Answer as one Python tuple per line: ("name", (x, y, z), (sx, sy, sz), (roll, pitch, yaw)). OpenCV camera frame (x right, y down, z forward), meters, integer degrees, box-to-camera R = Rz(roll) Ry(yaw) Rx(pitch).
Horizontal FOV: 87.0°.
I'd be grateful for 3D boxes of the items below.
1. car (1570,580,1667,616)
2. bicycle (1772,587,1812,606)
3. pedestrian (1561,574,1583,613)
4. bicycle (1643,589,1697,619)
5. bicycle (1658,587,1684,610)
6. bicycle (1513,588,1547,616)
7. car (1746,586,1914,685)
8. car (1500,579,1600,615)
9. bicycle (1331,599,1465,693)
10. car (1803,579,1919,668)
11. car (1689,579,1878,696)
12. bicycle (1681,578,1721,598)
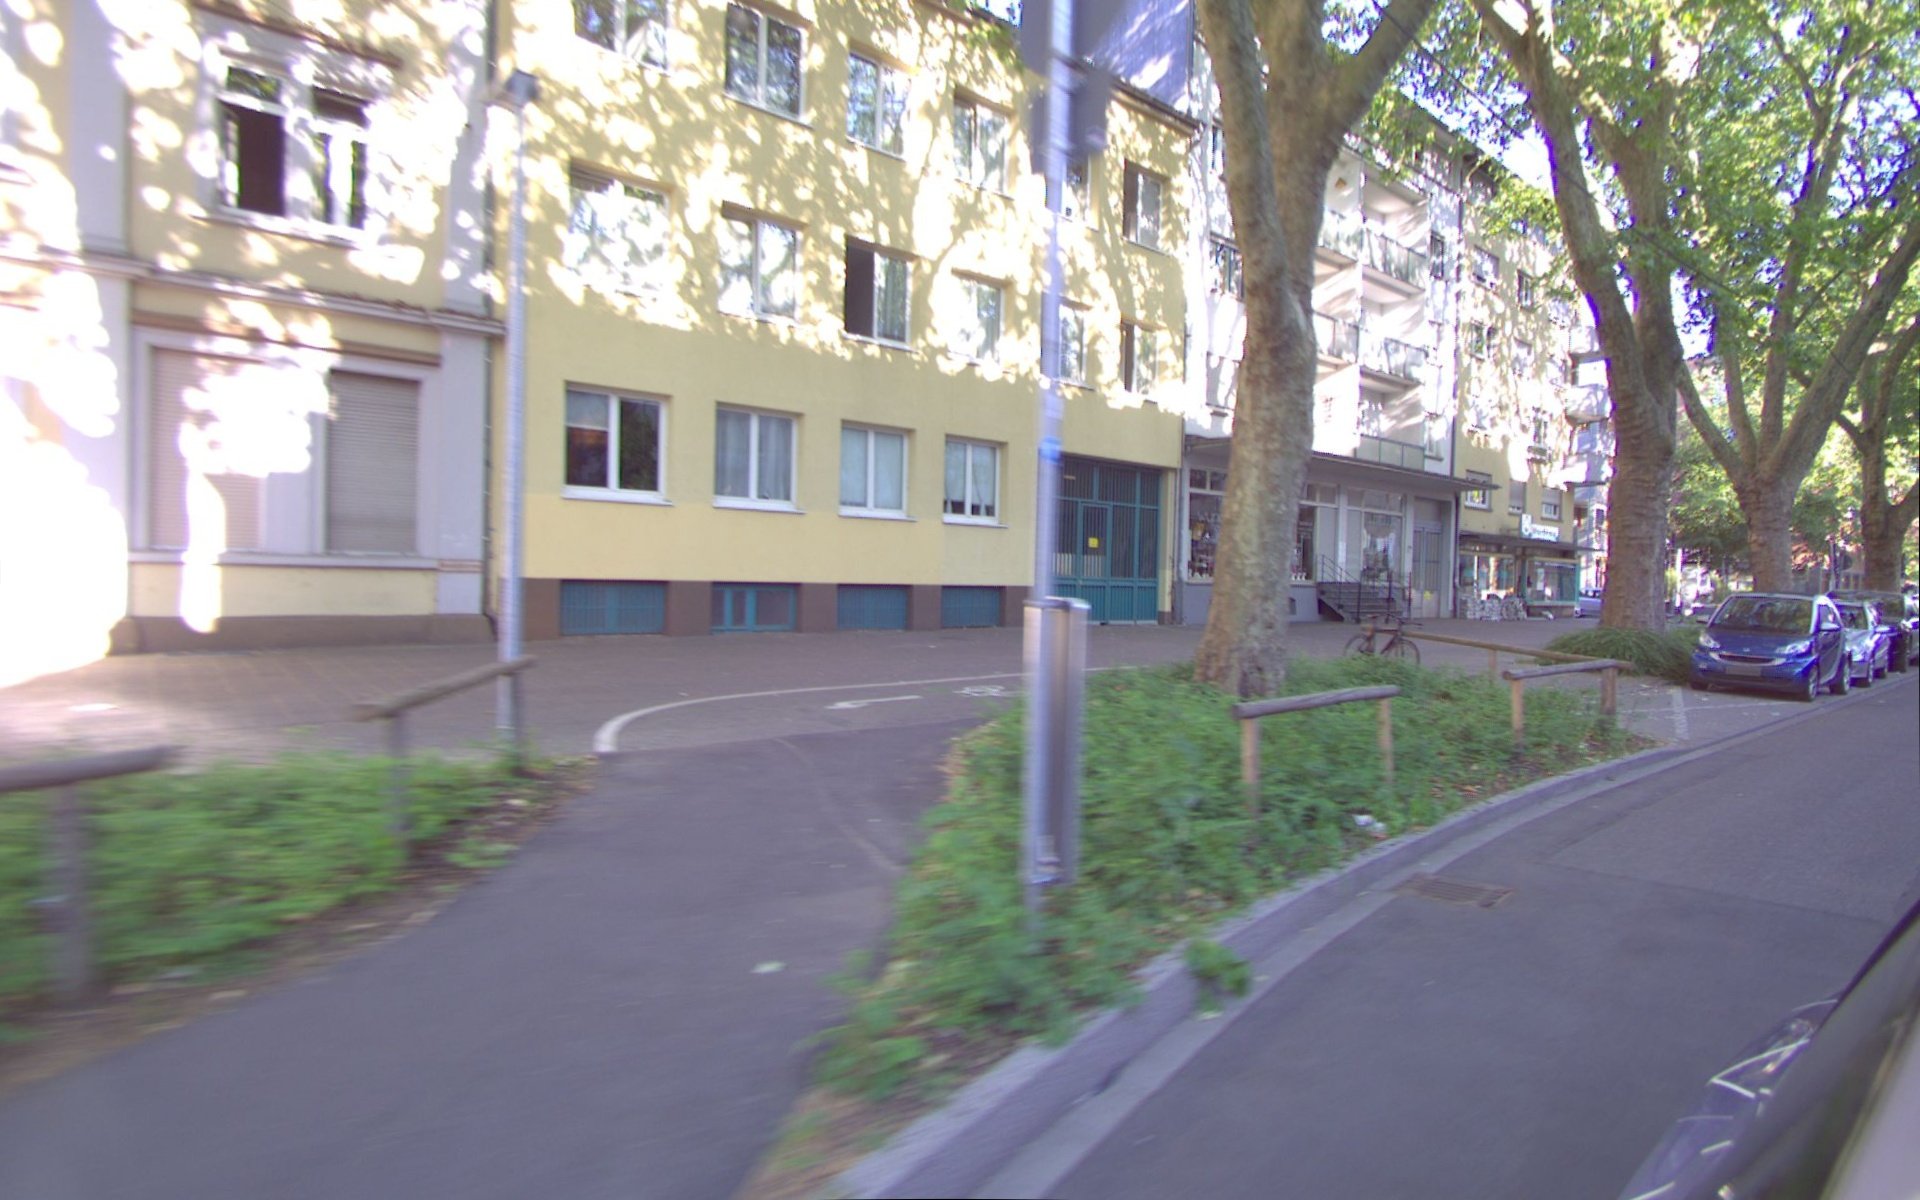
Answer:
("car", (34.330, -0.140, 52.845), (1.833, 1.713, 3.871), (0, 2, -39))
("bicycle", (57.531, -0.261, 69.996), (0.561, 1.170, 2.039), (0, 3, -34))
("pedestrian", (27.027, -0.280, 44.722), (0.695, 1.703, 0.656), (2, 1, 23))
("bicycle", (31.238, 0.176, 44.545), (1.781, 1.170, 0.738), (4, 3, 29))
("bicycle", (38.673, -0.082, 55.056), (1.666, 1.170, 0.602), (0, 3, -37))
("bicycle", (21.097, 0.064, 37.434), (1.751, 1.009, 0.571), (-1, 4, -45))
("car", (15.877, 0.536, 18.388), (4.527, 1.453, 1.819), (-2, 4, -43))
("car", (29.145, -0.153, 50.062), (1.832, 1.572, 3.871), (3, 0, -39))
("bicycle", (5.838, 0.581, 13.630), (0.500, 1.017, 1.975), (1, 4, -14))
("car", (19.875, 0.412, 21.834), (4.700, 1.622, 1.861), (-1, 4, -42))
("car", (12.558, 0.486, 15.404), (2.857, 1.537, 1.568), (-1, 4, -38))
("bicycle", (46.055, -0.746, 62.931), (0.560, 1.170, 1.939), (1, 3, -24))
